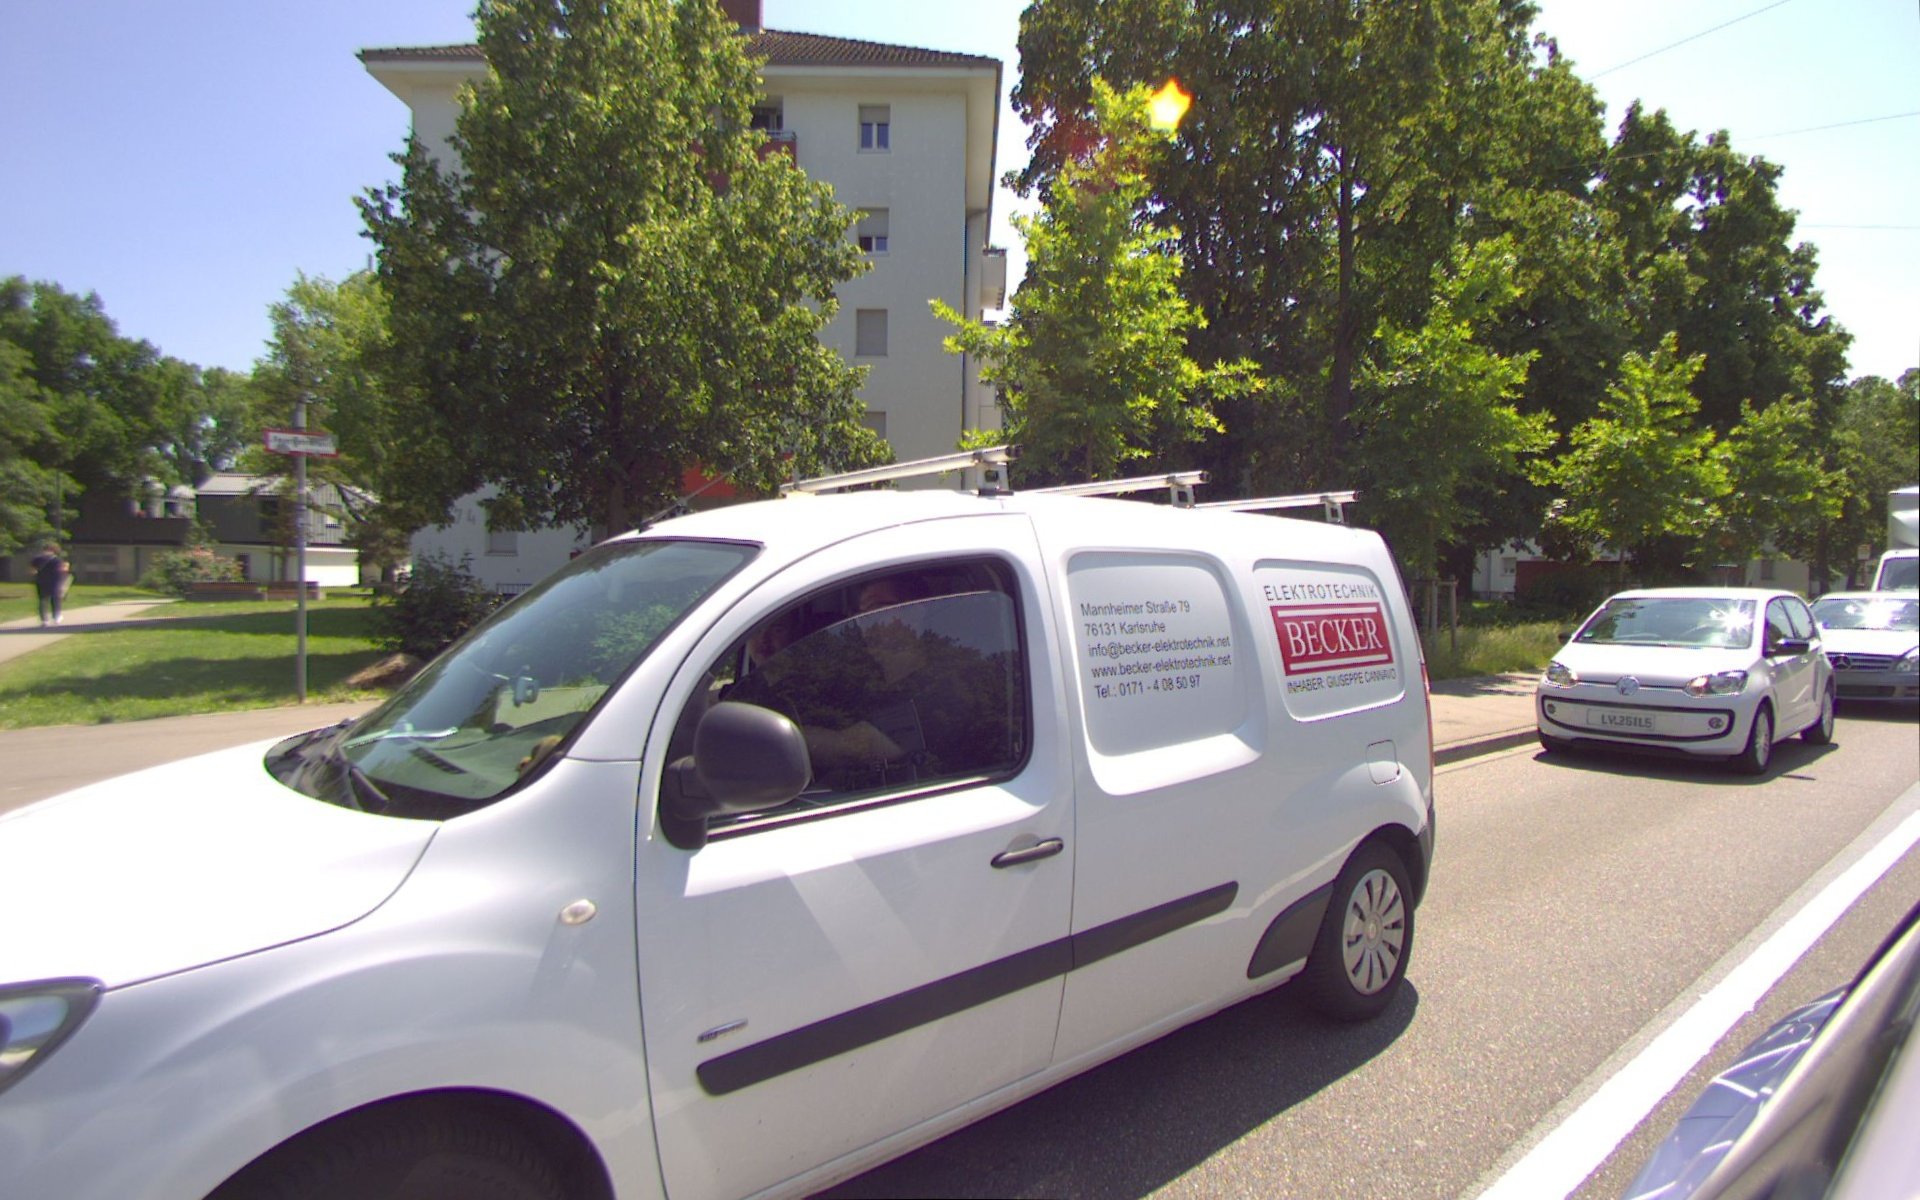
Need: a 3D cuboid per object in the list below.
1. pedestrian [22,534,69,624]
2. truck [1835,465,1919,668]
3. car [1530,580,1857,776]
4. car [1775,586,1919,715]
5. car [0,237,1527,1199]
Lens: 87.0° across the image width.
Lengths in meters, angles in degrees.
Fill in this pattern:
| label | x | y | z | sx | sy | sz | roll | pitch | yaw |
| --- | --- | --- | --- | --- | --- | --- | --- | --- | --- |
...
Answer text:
| label | x | y | z | sx | sy | sz | roll | pitch | yaw |
| --- | --- | --- | --- | --- | --- | --- | --- | --- | --- |
| pedestrian | -20.178 | -0.459 | 22.326 | 0.743 | 1.942 | 0.887 | 0 | 0 | -43 |
| truck | 18.446 | -0.580 | 18.492 | 6.484 | 3.337 | 2.490 | -1 | 2 | -38 |
| car | 6.793 | 0.555 | 9.271 | 3.436 | 1.459 | 1.625 | -1 | 1 | -40 |
| car | 11.786 | 0.530 | 12.705 | 4.041 | 1.398 | 1.618 | -1 | 1 | -39 |
| car | -0.159 | 0.476 | 3.244 | 4.992 | 1.879 | 1.808 | -1 | 0 | -40 |
